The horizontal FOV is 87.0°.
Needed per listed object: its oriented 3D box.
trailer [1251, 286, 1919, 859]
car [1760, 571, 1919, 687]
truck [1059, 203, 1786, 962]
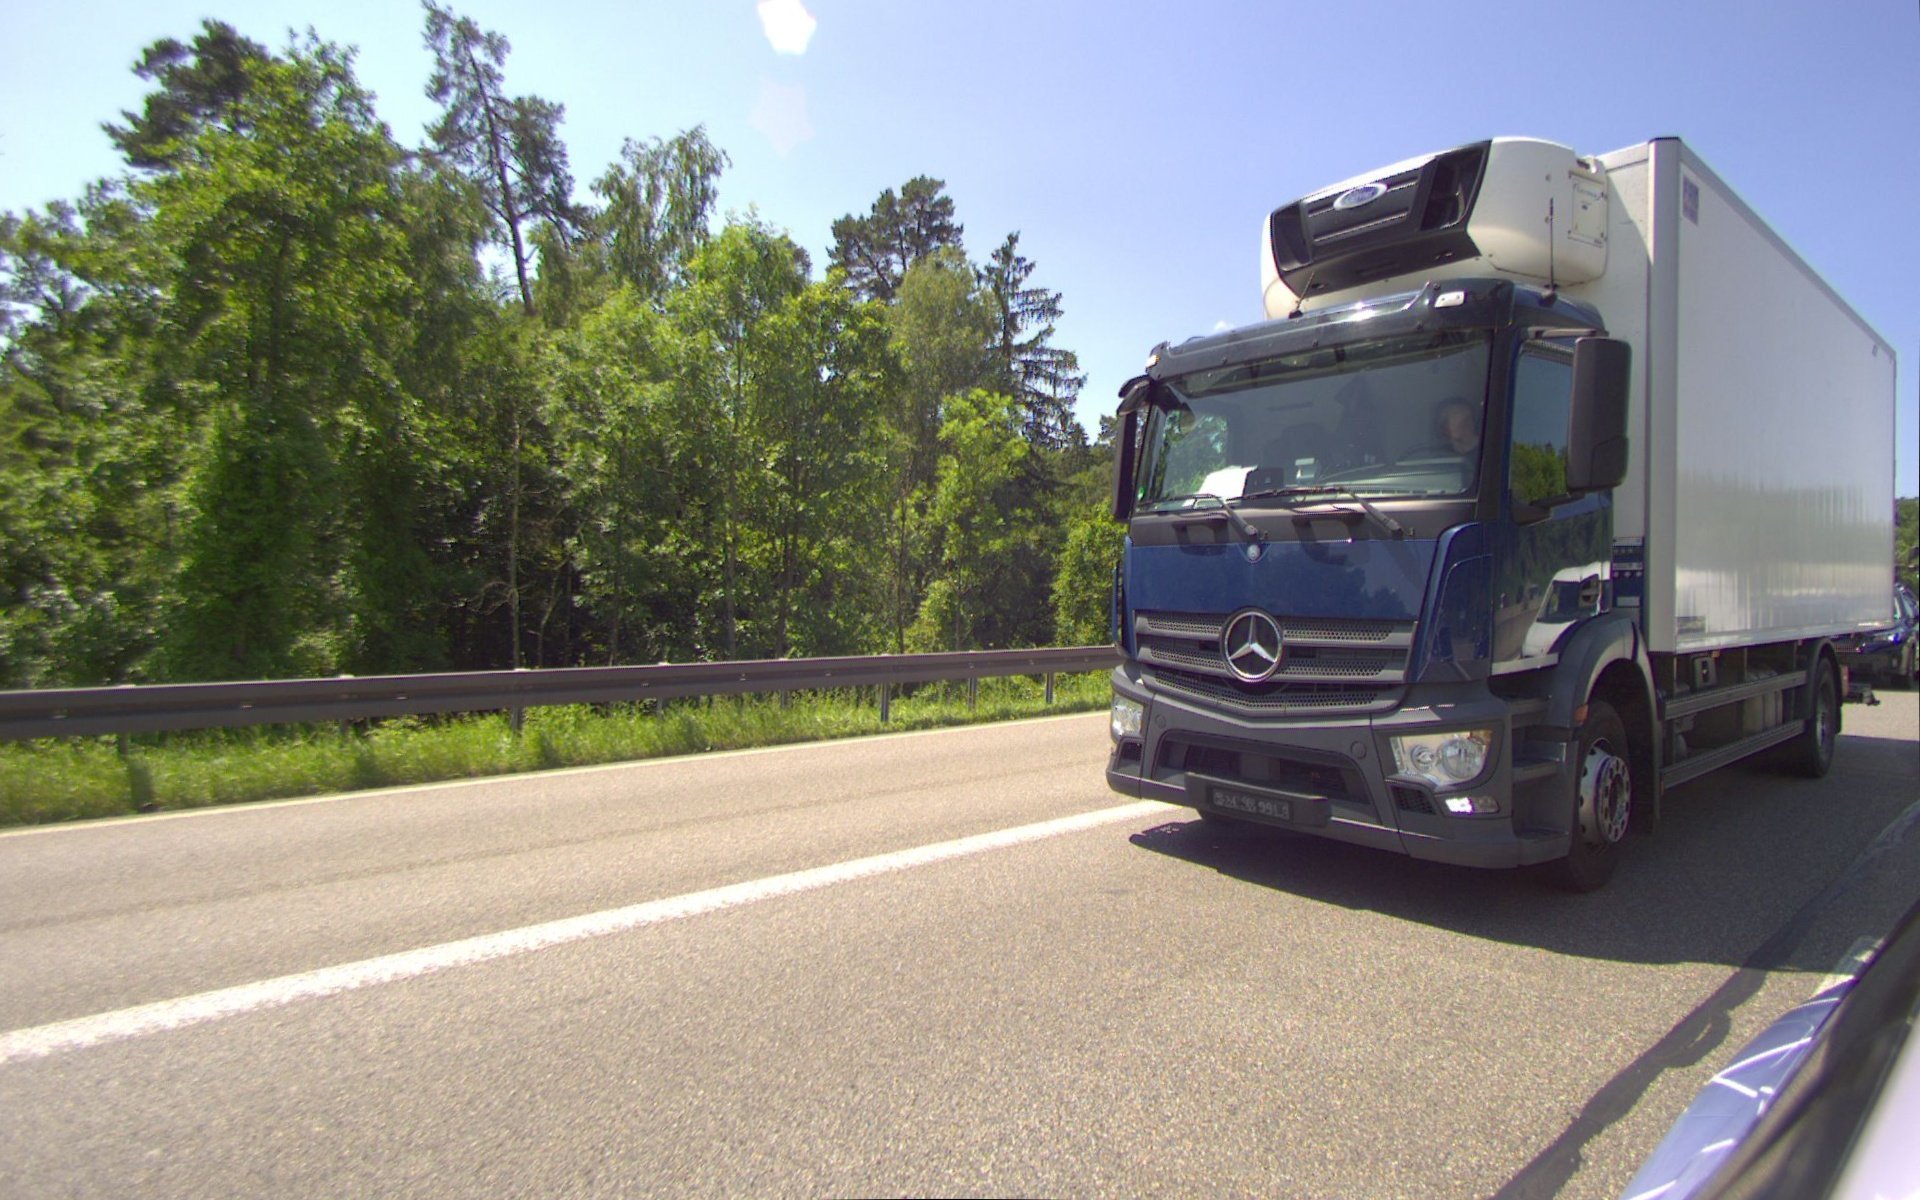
[{"bbox_3d":[5.866,-0.194,8.635,7.740,2.935,2.561,-1,1,-39],"label":"trailer"},{"bbox_3d":[15.670,0.382,17.650,4.534,1.713,1.996,-2,3,-43],"label":"car"},{"bbox_3d":[2.939,-0.144,6.248,4.031,2.976,2.562,-2,2,-39],"label":"truck"}]
